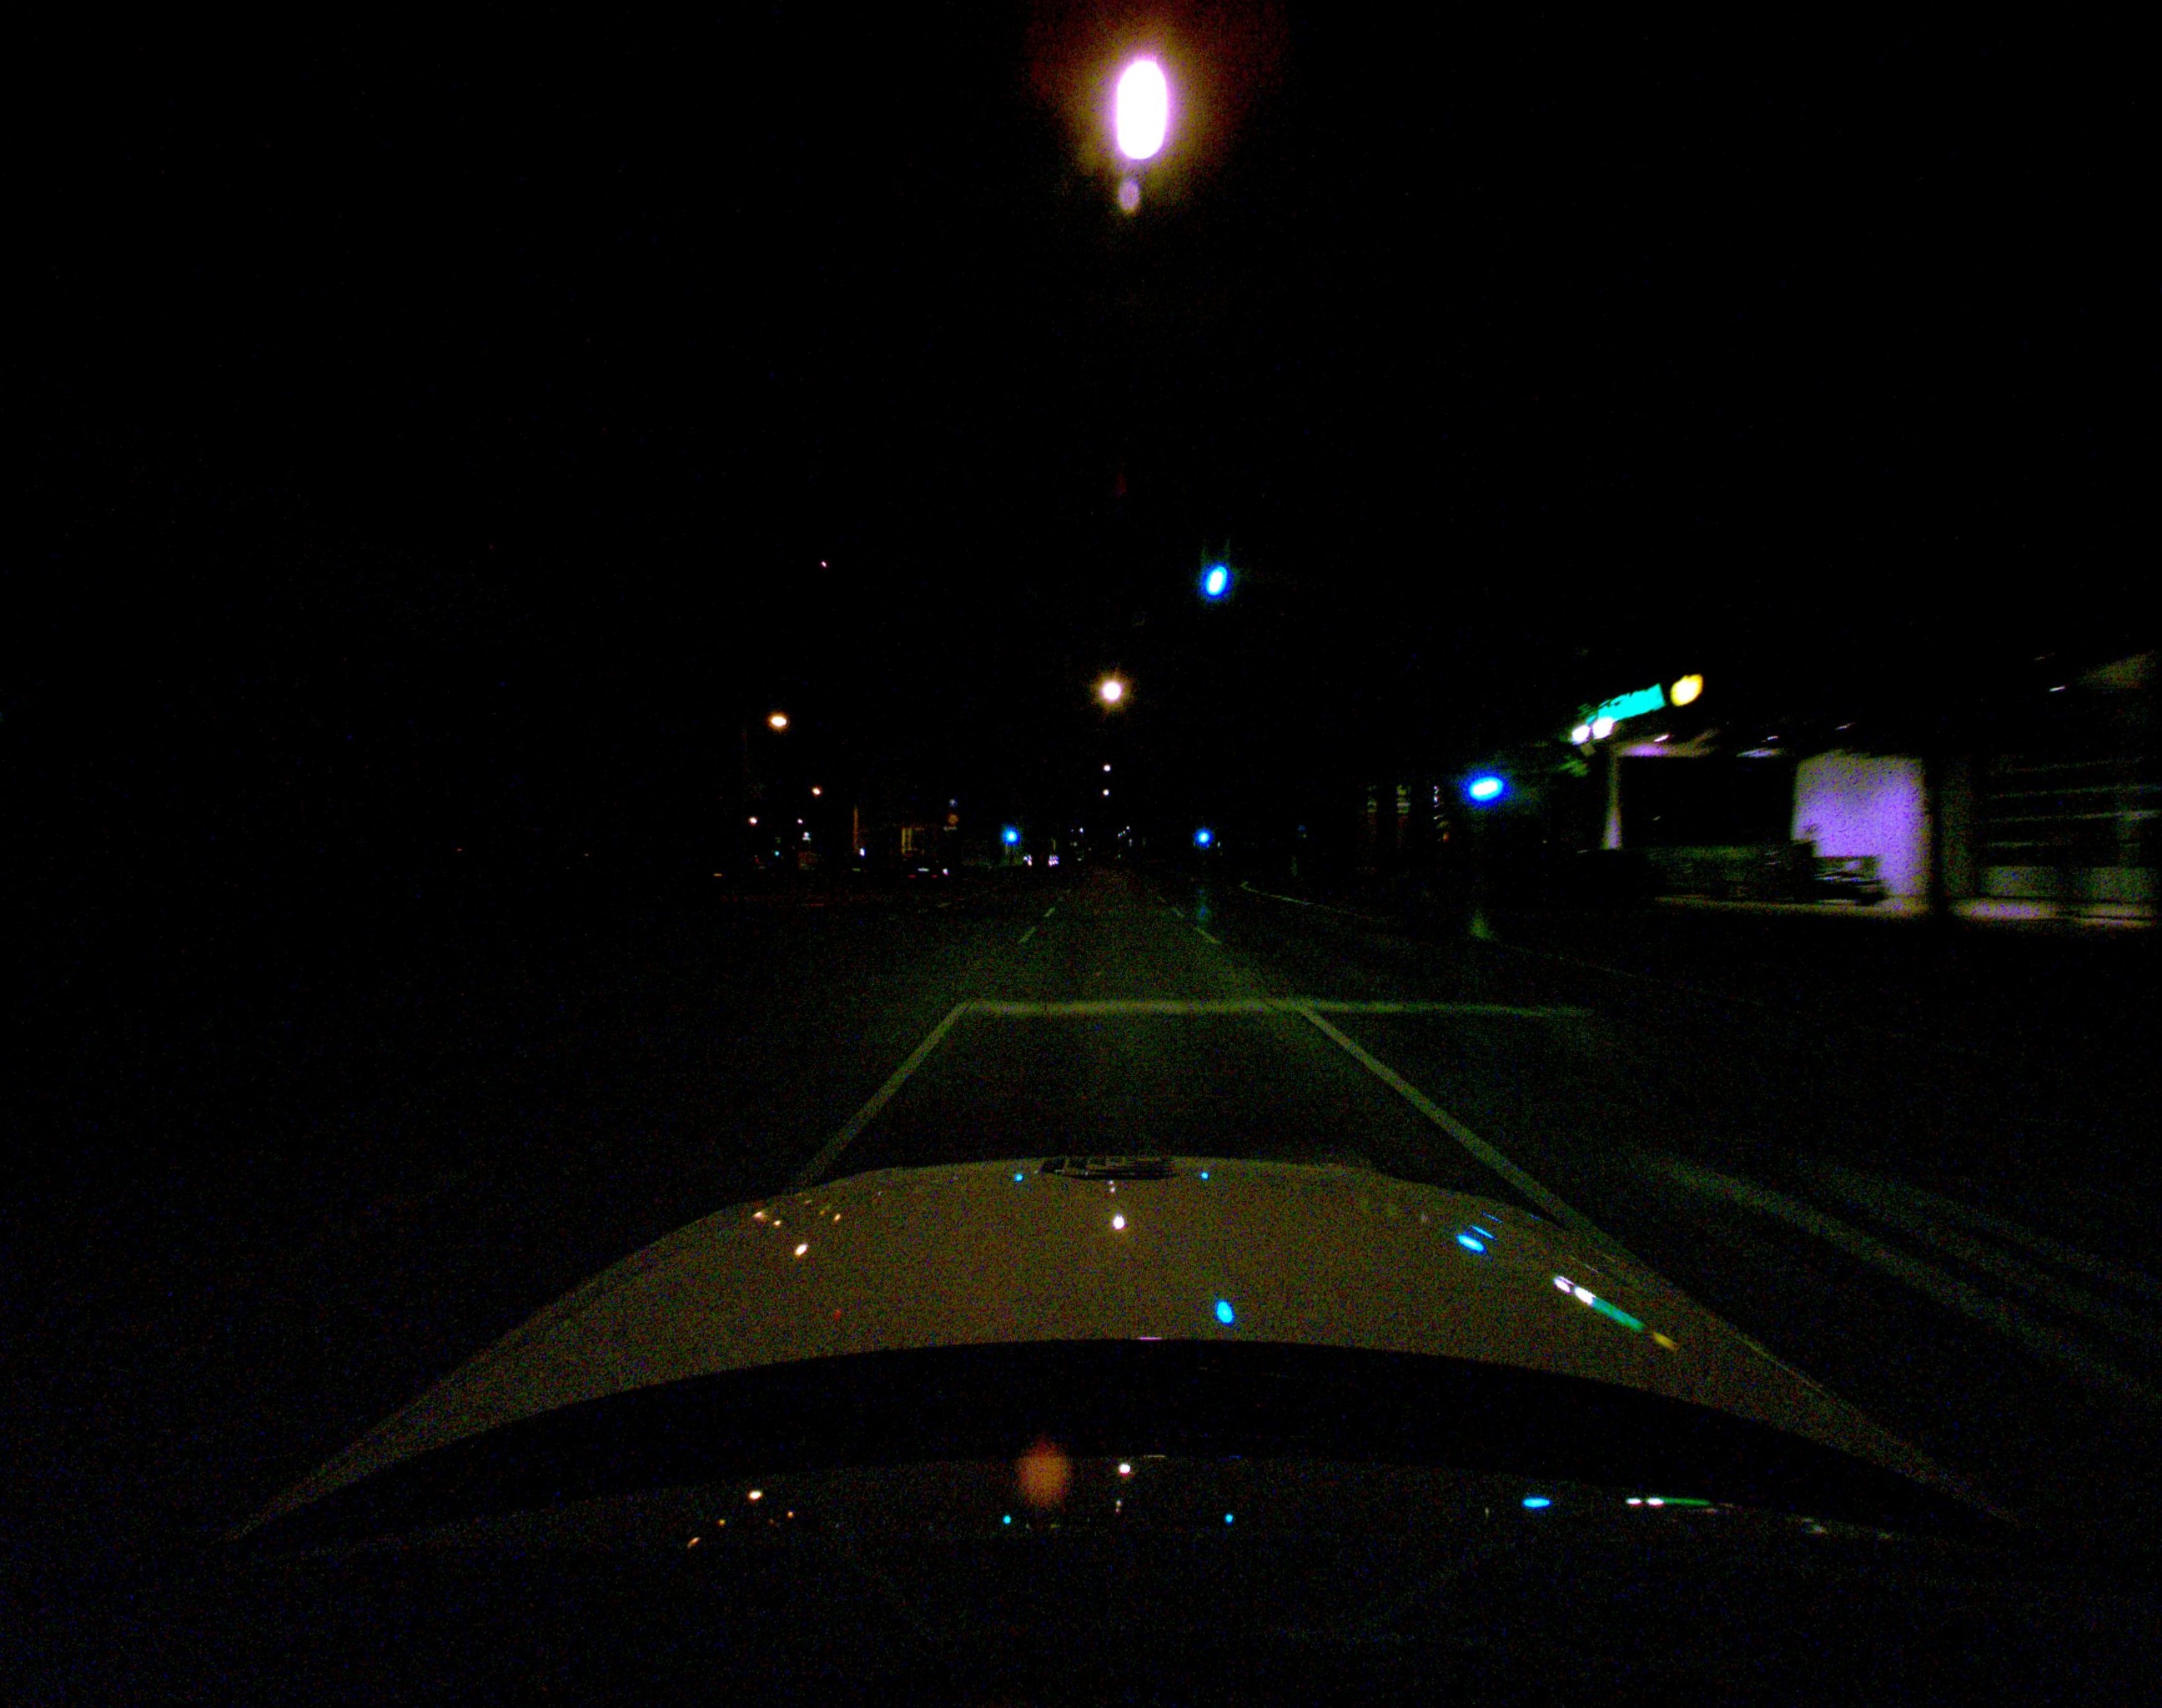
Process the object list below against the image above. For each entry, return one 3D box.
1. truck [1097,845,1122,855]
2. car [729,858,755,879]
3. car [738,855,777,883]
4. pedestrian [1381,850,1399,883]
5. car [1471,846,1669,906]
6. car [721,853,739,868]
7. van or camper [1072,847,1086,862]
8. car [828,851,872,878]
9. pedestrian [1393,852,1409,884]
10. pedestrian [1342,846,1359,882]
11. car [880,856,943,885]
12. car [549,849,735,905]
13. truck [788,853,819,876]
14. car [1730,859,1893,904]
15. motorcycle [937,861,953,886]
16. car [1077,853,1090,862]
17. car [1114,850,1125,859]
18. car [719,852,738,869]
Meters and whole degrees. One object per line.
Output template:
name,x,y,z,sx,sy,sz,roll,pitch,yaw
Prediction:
truck,7.837,-1.129,226.167,6.758,2.844,1.999,0,0,-2
car,-25.279,1.068,60.641,1.609,1.489,3.527,-1,1,-25
car,-20.067,0.908,50.387,1.847,1.613,4.222,-2,0,-27
pedestrian,15.357,0.612,40.494,0.619,1.639,0.679,0,0,2
car,12.559,0.561,21.111,4.067,1.454,1.787,-1,-1,0
car,-41.100,0.737,95.450,1.905,1.735,3.970,0,-1,-22
van or camper,-0.379,0.088,138.363,2.150,2.535,6.228,-3,0,1
car,-14.862,0.675,52.320,1.924,1.644,4.075,3,-1,-27
pedestrian,15.488,0.693,39.411,0.570,1.533,0.634,0,0,2
pedestrian,13.621,0.517,41.145,0.619,1.811,0.759,0,0,2
car,-9.092,0.856,43.390,1.898,1.424,4.684,-1,0,-30
car,-13.452,0.698,25.185,4.645,1.629,2.003,-1,-1,-1
truck,-22.651,0.825,66.323,1.900,1.807,4.078,0,-1,-27
car,20.308,0.736,22.830,1.452,1.168,3.540,0,-1,1
motorcycle,-6.735,0.926,40.167,0.573,1.180,2.021,0,0,-15
car,0.463,0.612,149.155,1.836,1.507,4.733,-1,0,-5
car,7.074,0.150,148.553,1.876,1.603,4.111,-2,-1,3
car,-38.718,0.721,89.376,1.804,1.809,3.967,0,0,-25
